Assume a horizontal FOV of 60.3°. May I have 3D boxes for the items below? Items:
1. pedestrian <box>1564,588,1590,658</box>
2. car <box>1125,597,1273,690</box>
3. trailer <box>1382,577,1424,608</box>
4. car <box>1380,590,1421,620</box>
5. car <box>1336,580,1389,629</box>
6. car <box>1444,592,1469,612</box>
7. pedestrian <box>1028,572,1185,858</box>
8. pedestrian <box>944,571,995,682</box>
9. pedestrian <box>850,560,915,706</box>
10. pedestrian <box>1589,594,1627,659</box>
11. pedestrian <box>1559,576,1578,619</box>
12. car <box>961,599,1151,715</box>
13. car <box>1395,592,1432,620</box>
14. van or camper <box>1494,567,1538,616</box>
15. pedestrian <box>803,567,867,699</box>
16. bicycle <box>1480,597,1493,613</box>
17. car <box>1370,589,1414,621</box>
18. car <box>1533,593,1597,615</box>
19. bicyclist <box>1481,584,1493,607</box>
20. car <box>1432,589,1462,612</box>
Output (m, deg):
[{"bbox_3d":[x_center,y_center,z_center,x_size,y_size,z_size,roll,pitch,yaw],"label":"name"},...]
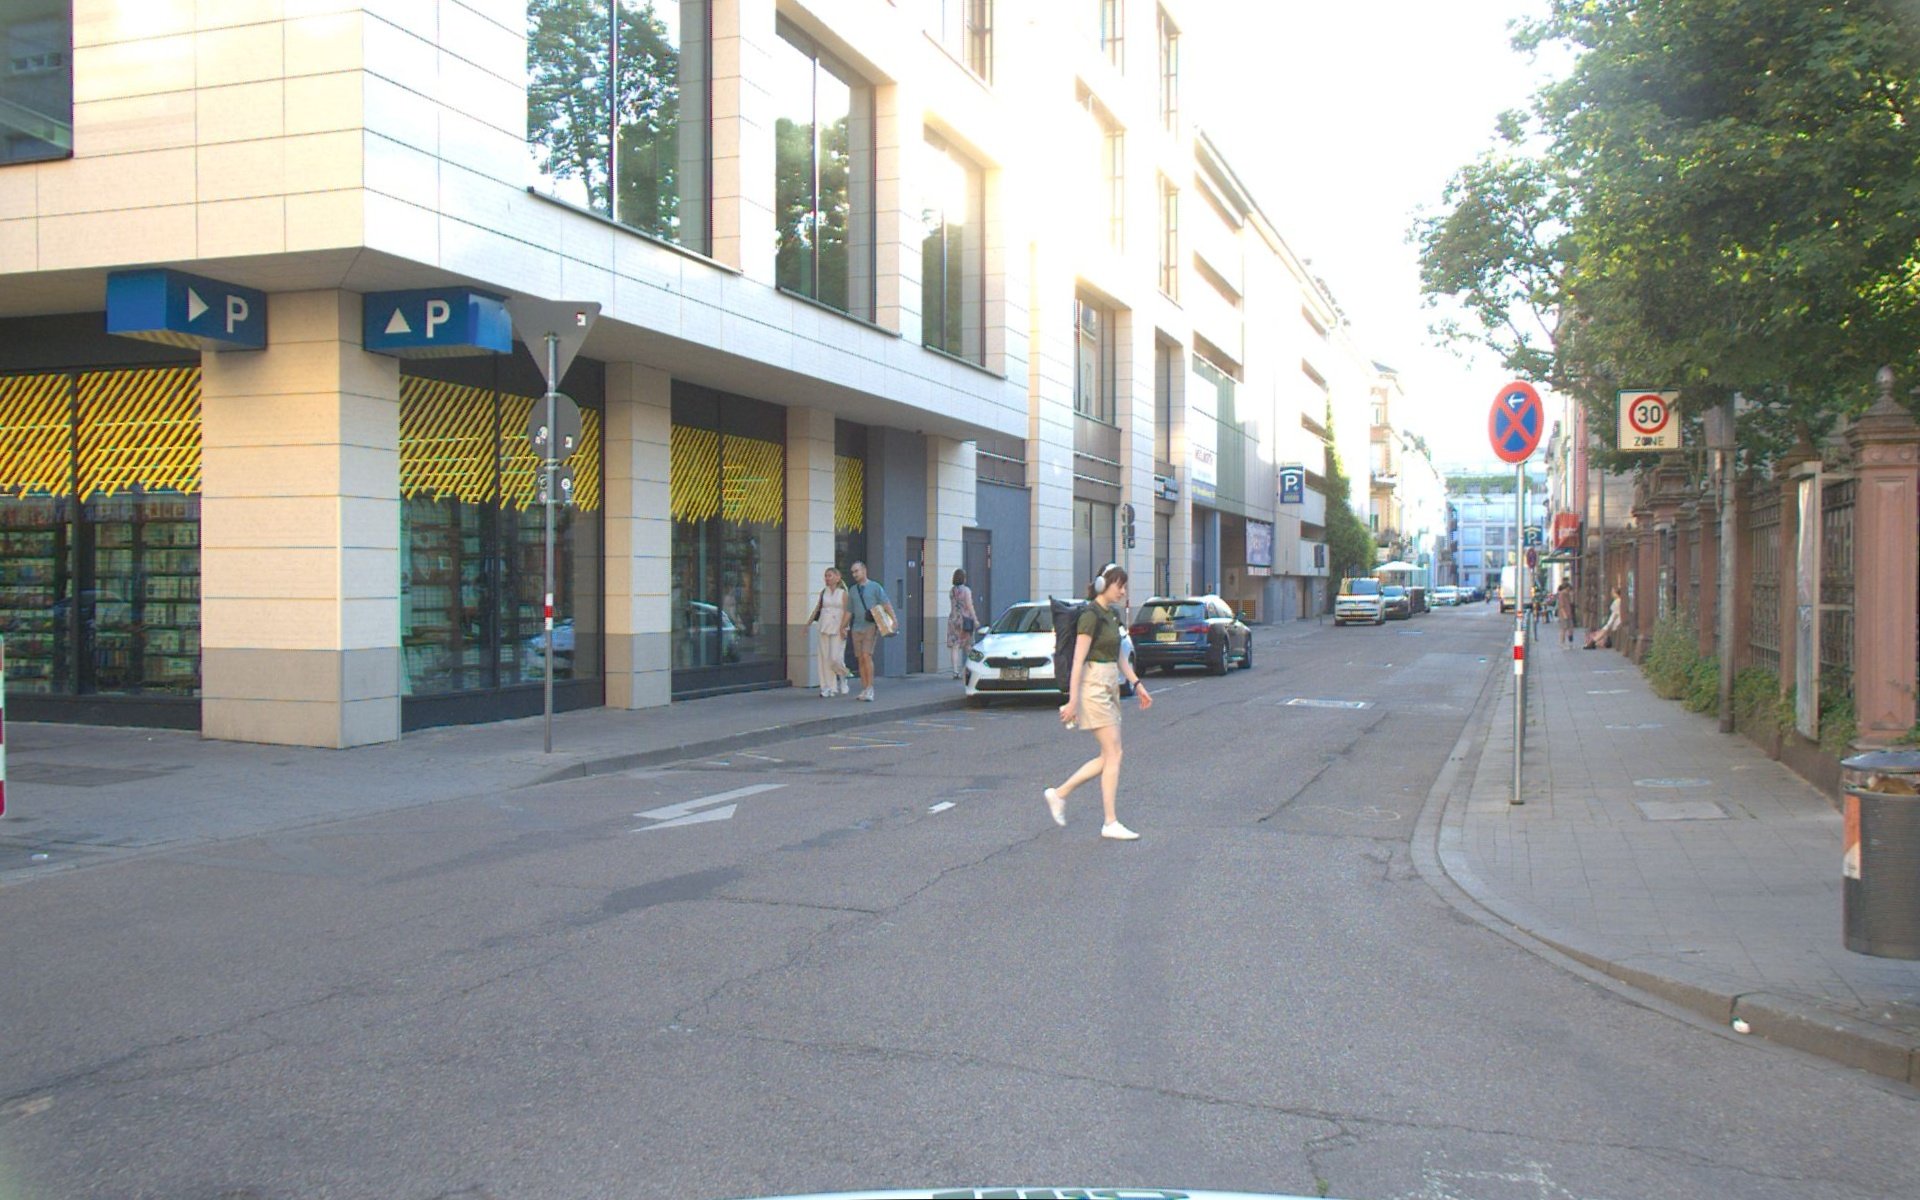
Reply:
[{"bbox_3d":[15.045,0.561,40.340,0.474,1.687,0.619,-2,0,12],"label":"pedestrian"},{"bbox_3d":[4.685,0.770,31.908,1.845,1.626,4.690,0,0,21],"label":"car"},{"bbox_3d":[23.514,-0.378,87.746,1.952,1.584,4.002,0,0,18],"label":"trailer"},{"bbox_3d":[22.281,0.239,83.627,1.844,1.478,4.002,0,0,18],"label":"car"},{"bbox_3d":[16.649,0.163,68.315,1.844,1.945,4.751,0,0,17],"label":"car"},{"bbox_3d":[43.780,0.194,145.874,1.952,1.713,4.001,0,0,19],"label":"car"},{"bbox_3d":[0.938,0.700,10.678,0.630,1.753,0.834,0,0,-36],"label":"pedestrian"},{"bbox_3d":[0.161,0.422,26.815,0.658,1.775,0.647,0,0,19],"label":"pedestrian"},{"bbox_3d":[-1.001,0.420,21.510,0.658,1.868,0.648,0,0,17],"label":"pedestrian"},{"bbox_3d":[15.604,0.642,39.864,0.733,1.526,0.619,-2,0,14],"label":"pedestrian"},{"bbox_3d":[24.206,-0.102,65.809,0.648,1.695,0.624,-2,-1,19],"label":"pedestrian"},{"bbox_3d":[1.473,0.734,23.652,1.740,1.478,4.233,0,0,18],"label":"car"},{"bbox_3d":[25.300,0.315,92.146,1.844,1.478,4.002,0,0,18],"label":"car"},{"bbox_3d":[32.980,-0.455,98.000,2.211,2.653,5.113,-4,-2,19],"label":"van or camper"},{"bbox_3d":[-1.637,0.422,21.725,0.658,1.704,0.648,0,0,17],"label":"pedestrian"},{"bbox_3d":[44.599,0.412,140.006,0.955,1.302,2.755,0,0,19],"label":"bicycle"},{"bbox_3d":[20.688,0.219,79.156,1.844,1.478,4.002,0,0,18],"label":"car"},{"bbox_3d":[39.255,0.255,107.380,3.904,1.445,1.657,0,0,20],"label":"car"},{"bbox_3d":[44.573,-0.380,139.918,0.969,1.901,0.708,0,-1,19],"label":"bicyclist"},{"bbox_3d":[36.632,0.060,124.388,1.952,1.713,4.001,0,0,19],"label":"car"}]
